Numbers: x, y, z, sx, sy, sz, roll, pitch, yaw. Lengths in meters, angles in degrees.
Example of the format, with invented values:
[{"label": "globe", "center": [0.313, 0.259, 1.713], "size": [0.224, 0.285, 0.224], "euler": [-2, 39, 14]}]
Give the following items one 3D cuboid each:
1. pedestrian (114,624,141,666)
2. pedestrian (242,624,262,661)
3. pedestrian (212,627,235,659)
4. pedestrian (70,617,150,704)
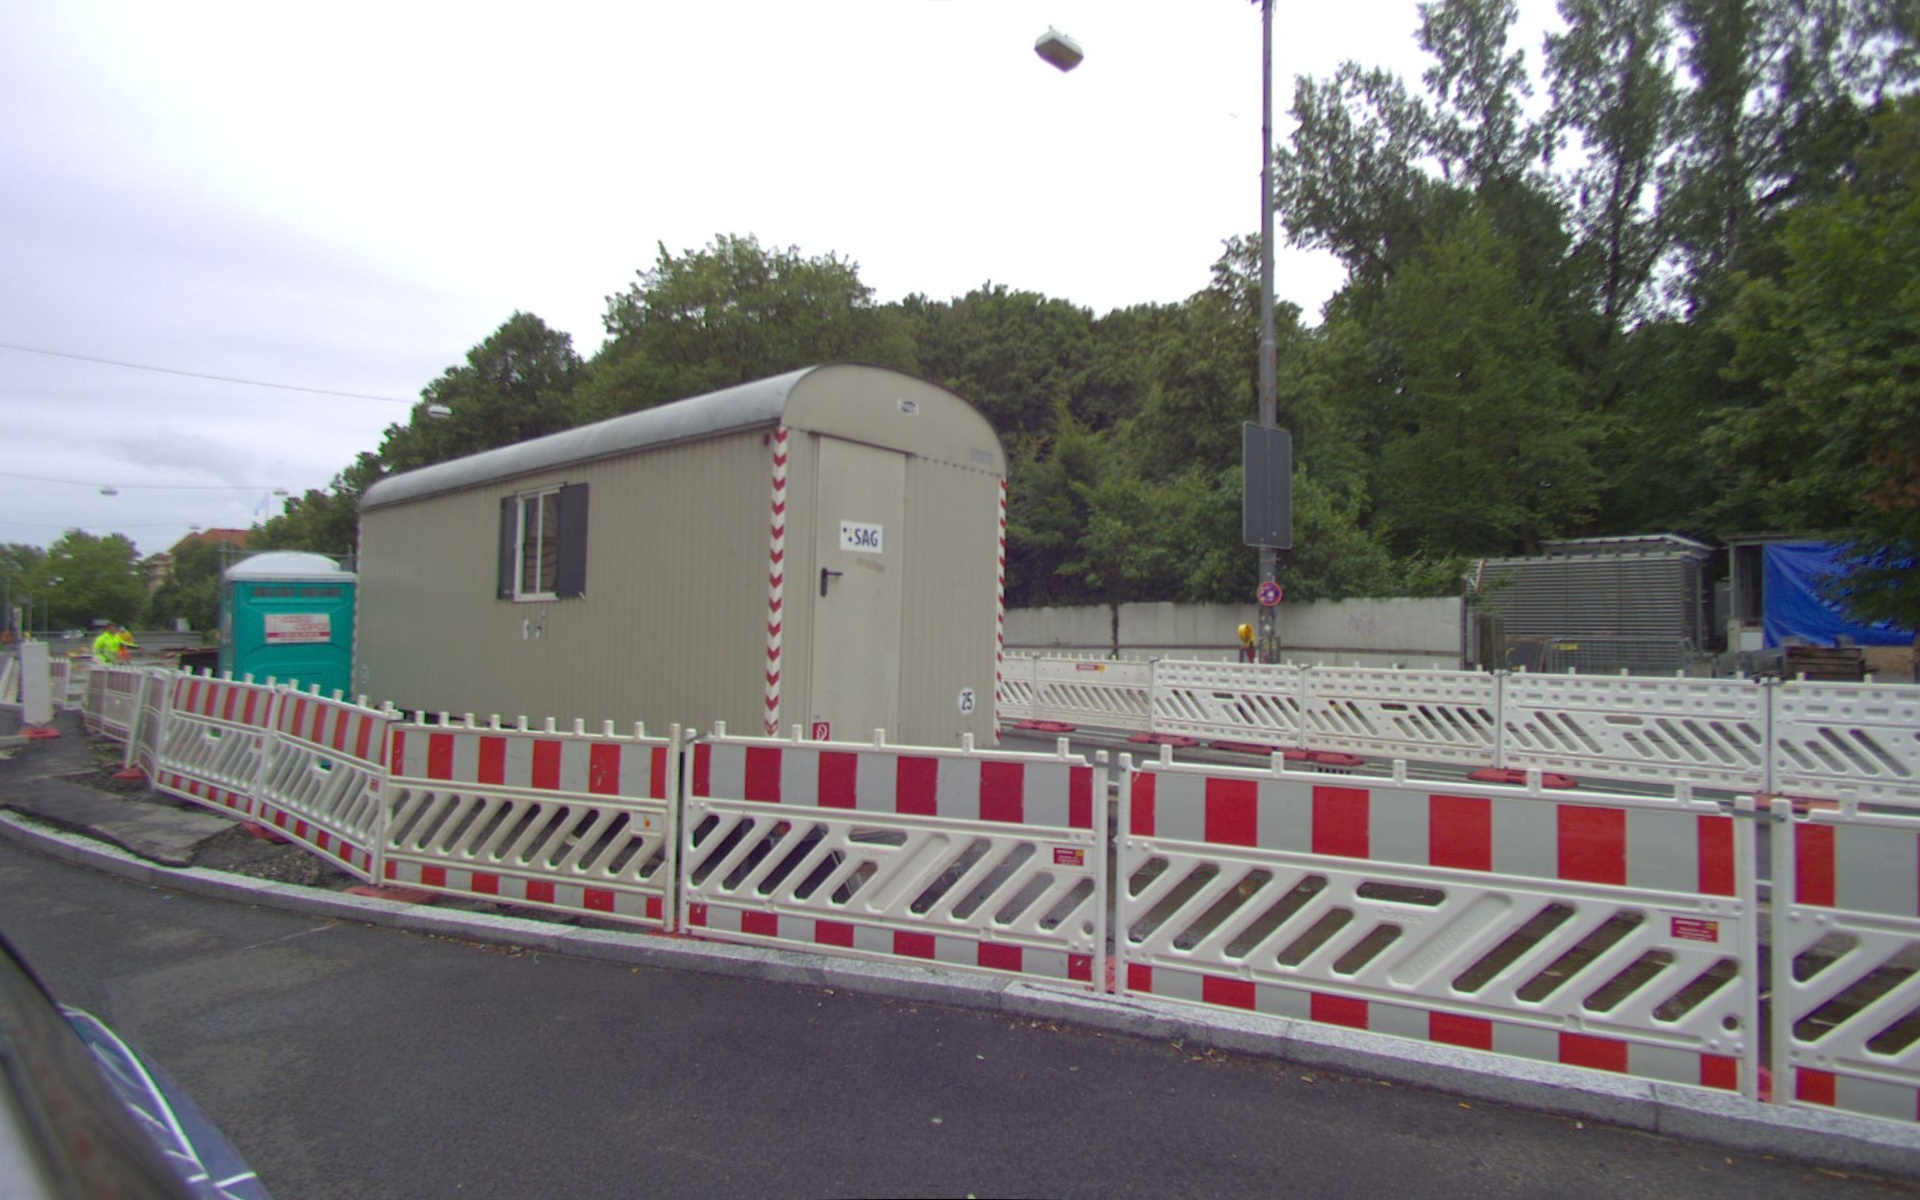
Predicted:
[{"label": "pedestrian", "center": [-37.660, 2.018, 45.782], "size": [0.846, 1.850, 0.877], "euler": [2, -3, -38]}, {"label": "pedestrian", "center": [-38.408, 2.314, 54.890], "size": [0.657, 1.985, 0.808], "euler": [1, -2, -18]}, {"label": "pedestrian", "center": [-39.167, 2.276, 53.809], "size": [0.886, 1.701, 0.912], "euler": [2, -3, -40]}, {"label": "pedestrian", "center": [-18.424, 1.299, 21.958], "size": [0.976, 1.816, 0.817], "euler": [3, -2, -11]}]
